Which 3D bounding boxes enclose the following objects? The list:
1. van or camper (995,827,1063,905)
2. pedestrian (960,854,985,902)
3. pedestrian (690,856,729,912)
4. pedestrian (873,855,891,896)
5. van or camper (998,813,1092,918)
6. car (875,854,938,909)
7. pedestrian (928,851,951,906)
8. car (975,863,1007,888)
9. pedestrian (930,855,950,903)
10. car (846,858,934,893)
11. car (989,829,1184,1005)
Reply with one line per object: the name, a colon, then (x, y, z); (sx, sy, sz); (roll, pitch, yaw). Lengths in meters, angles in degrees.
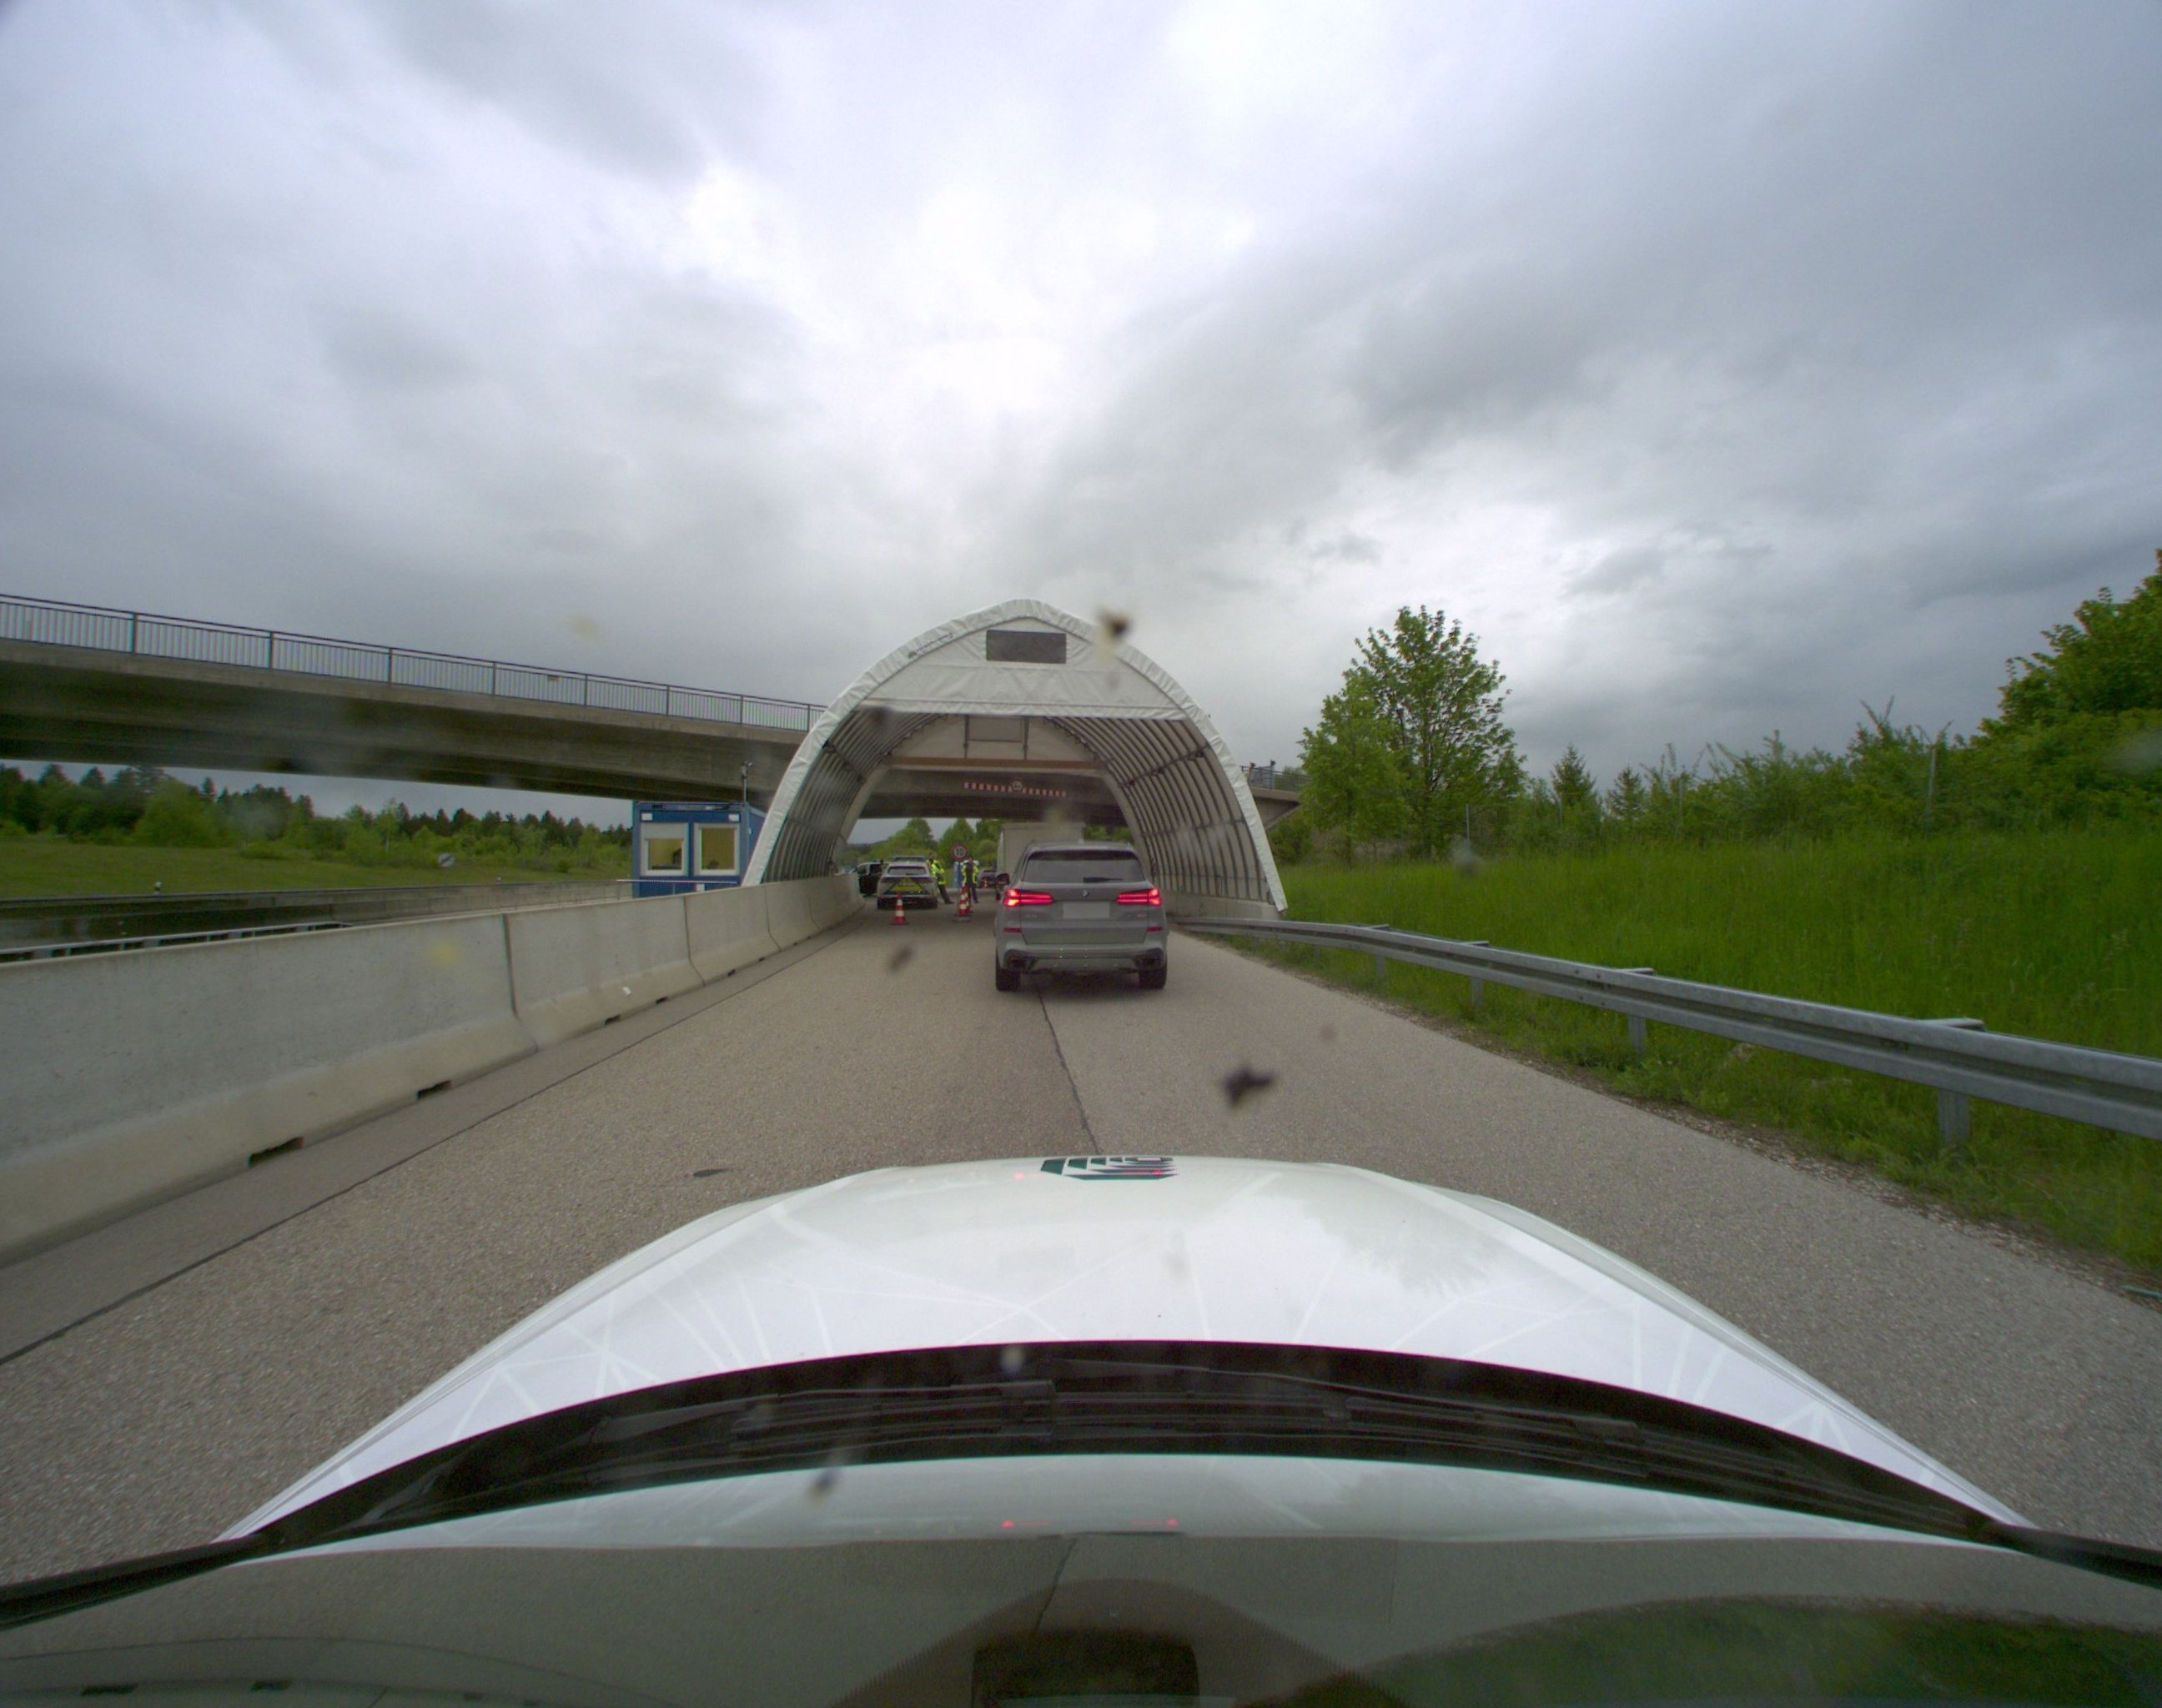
van or camper: (-1.999, 0.426, 29.587); (2.102, 2.519, 5.537); (-1, -1, -7)
pedestrian: (-3.973, 0.888, 29.859); (0.778, 1.722, 0.756); (-1, -1, -4)
pedestrian: (-9.247, 0.734, 20.299); (0.606, 1.373, 0.629); (-2, -1, 10)
pedestrian: (-9.834, 1.047, 40.232); (0.698, 2.014, 0.692); (-1, -1, 1)
van or camper: (-1.231, 0.321, 23.500); (2.227, 2.552, 6.595); (-1, -1, -7)
car: (-5.778, 0.875, 27.023); (1.879, 1.647, 3.983); (-1, -1, -12)
pedestrian: (-5.081, 0.871, 29.193); (0.750, 1.919, 0.759); (-1, -1, -13)
car: (-6.503, 1.536, 58.828); (1.994, 1.722, 3.882); (-1, -1, -11)
pedestrian: (-5.239, 0.920, 30.297); (0.607, 1.754, 0.665); (-1, -1, -4)
car: (-11.552, 1.297, 49.354); (4.777, 2.014, 1.845); (-1, -1, 9)
car: (-0.154, 0.666, 10.468); (1.992, 1.765, 3.990); (-1, -1, -7)
